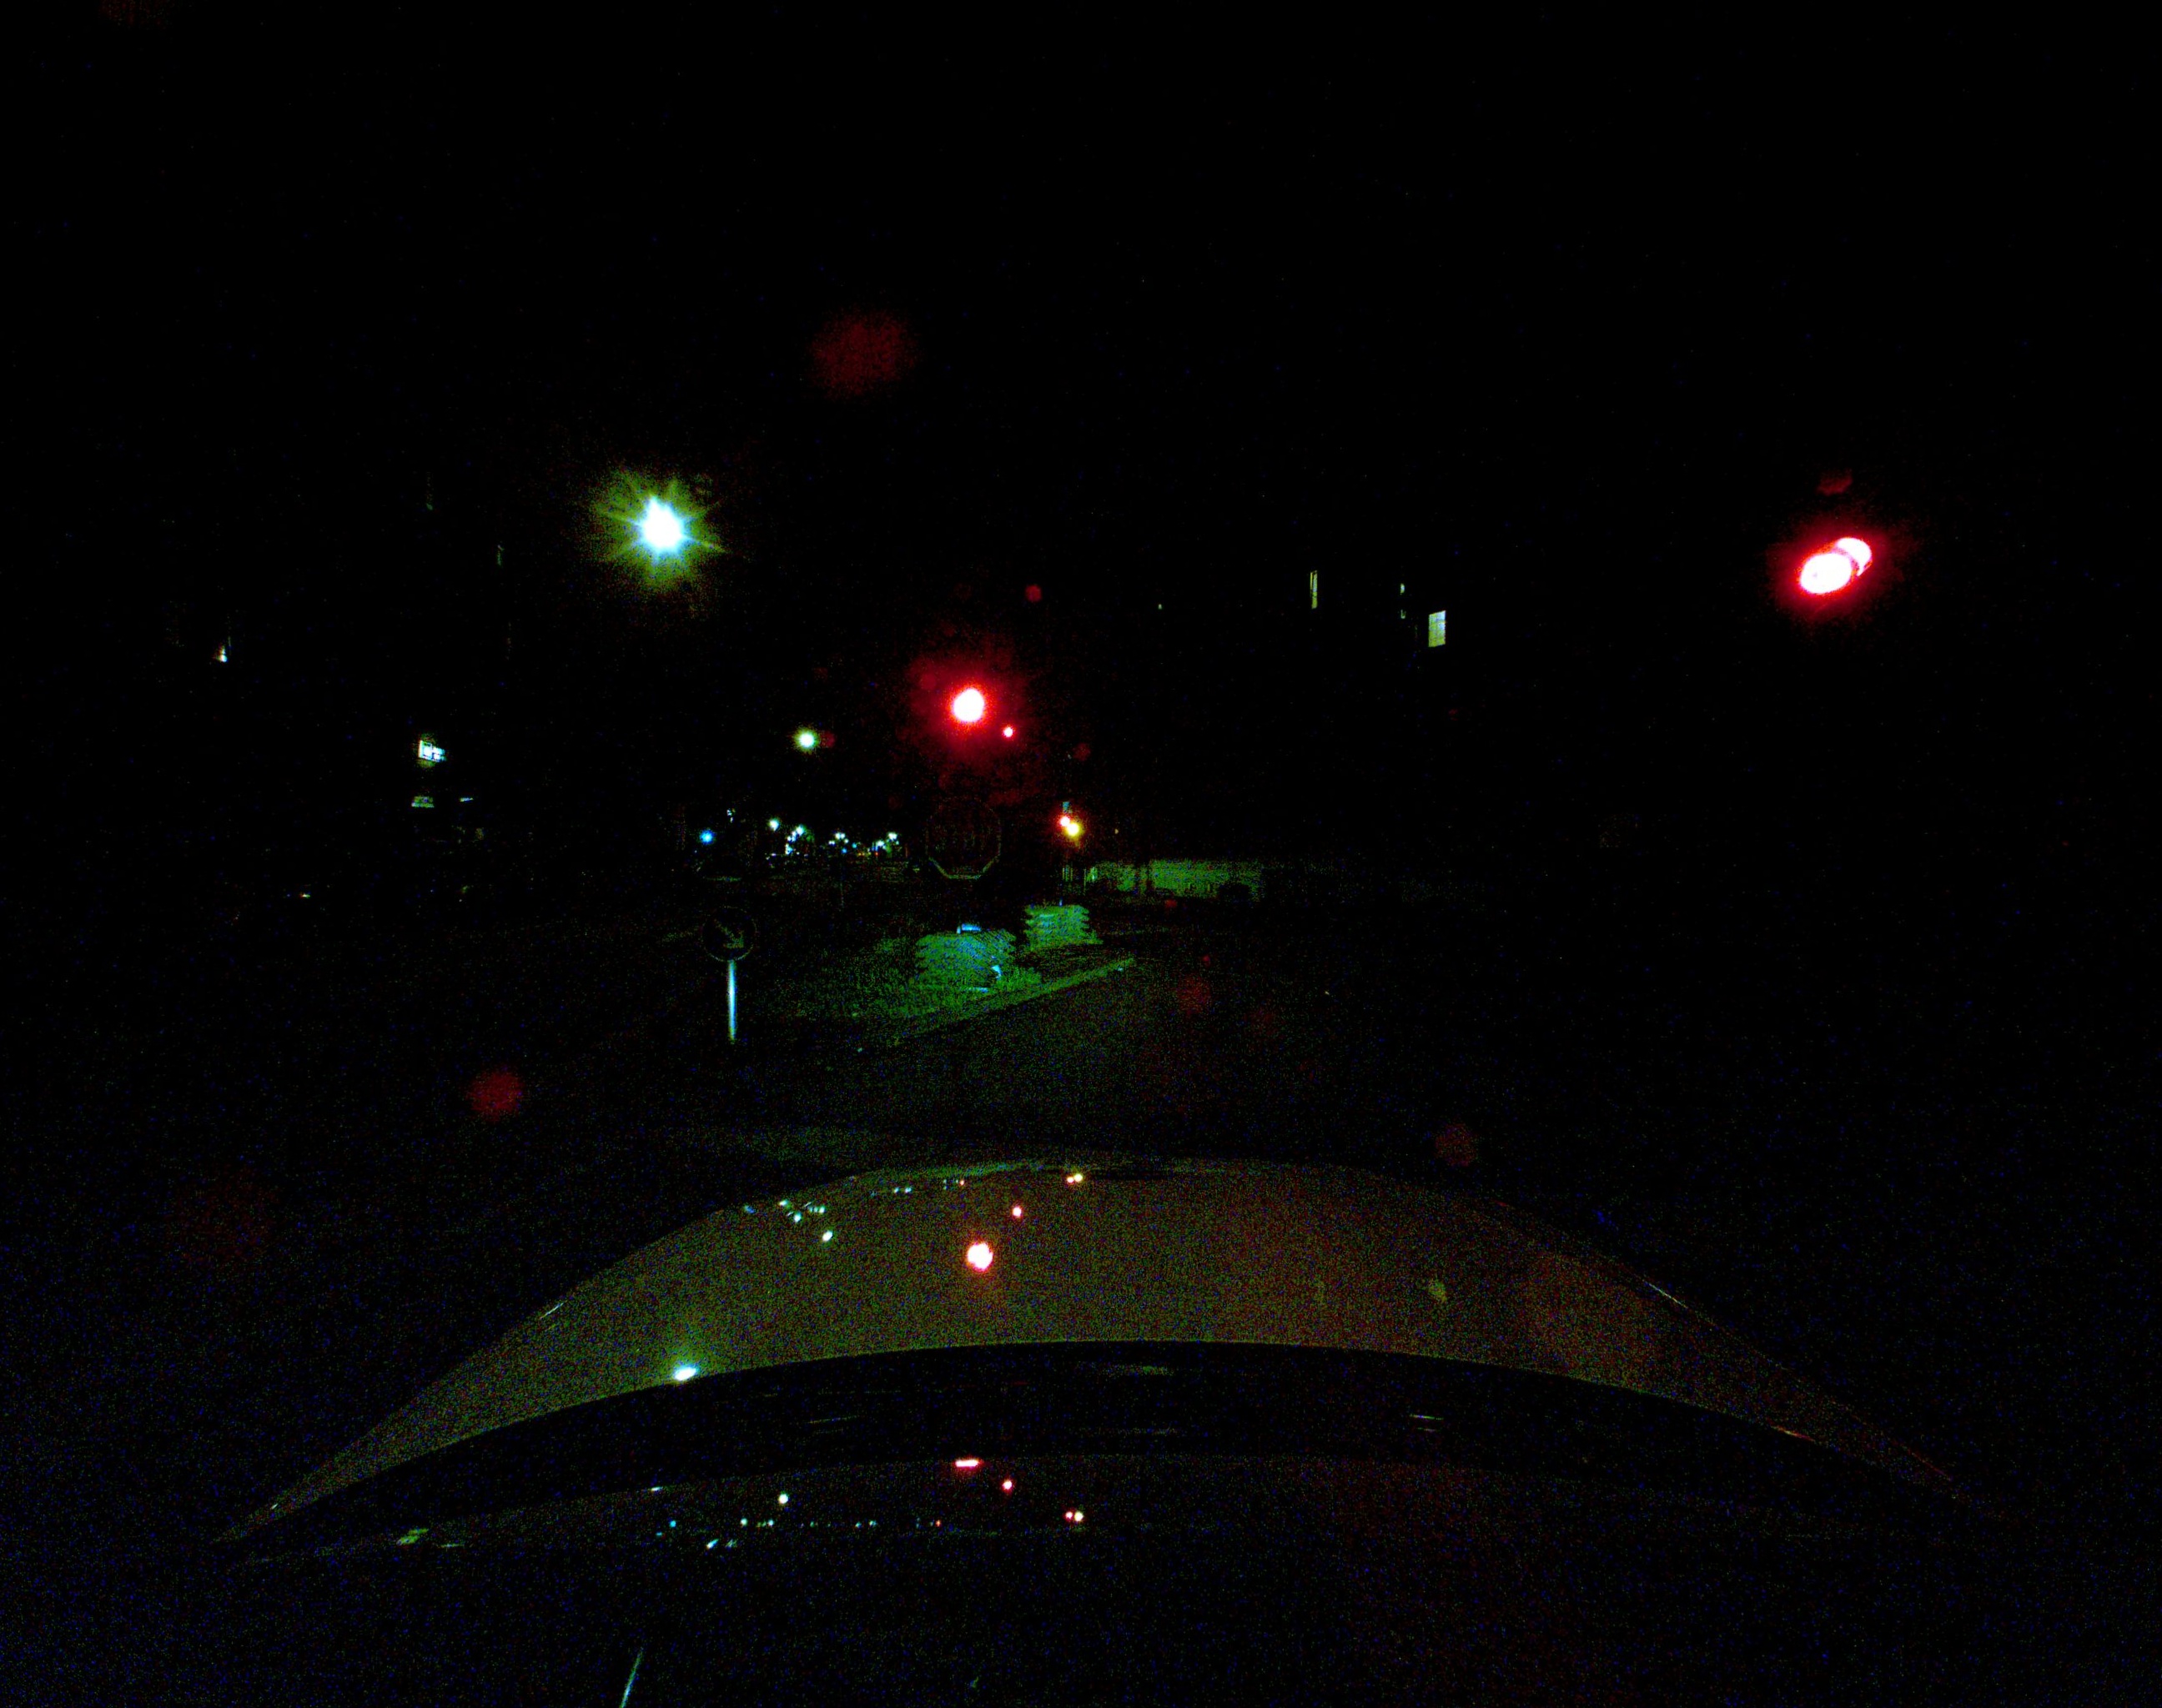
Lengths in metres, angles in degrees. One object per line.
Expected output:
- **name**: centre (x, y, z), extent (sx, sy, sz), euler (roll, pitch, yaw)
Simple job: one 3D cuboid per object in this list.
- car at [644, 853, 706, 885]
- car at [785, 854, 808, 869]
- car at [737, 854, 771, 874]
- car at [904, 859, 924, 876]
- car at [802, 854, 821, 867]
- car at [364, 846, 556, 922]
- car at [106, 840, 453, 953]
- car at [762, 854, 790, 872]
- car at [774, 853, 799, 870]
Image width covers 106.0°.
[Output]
- **car**: centre (-18.908, 0.682, 38.067), extent (1.653, 1.431, 3.982), euler (1, 0, -13)
- **car**: centre (-27.879, 0.737, 79.853), extent (1.653, 1.431, 3.982), euler (1, 0, -13)
- **car**: centre (-23.724, 0.729, 59.244), extent (1.653, 1.431, 3.982), euler (1, 0, -13)
- **car**: centre (-14.854, 1.152, 72.428), extent (1.652, 1.431, 3.984), euler (1, 0, -12)
- **car**: centre (-30.841, 0.748, 93.206), extent (1.653, 1.431, 3.982), euler (1, 0, -13)
- **car**: centre (-13.660, 0.623, 18.274), extent (1.806, 1.481, 4.302), euler (1, -1, -14)
- **car**: centre (-12.584, 0.587, 13.311), extent (1.901, 1.471, 4.432), euler (3, -1, -13)
- **car**: centre (-25.171, 0.745, 67.298), extent (1.653, 1.431, 3.982), euler (1, 0, -13)
- **car**: centre (-26.475, 0.671, 73.362), extent (1.653, 1.431, 3.982), euler (1, 0, -13)
